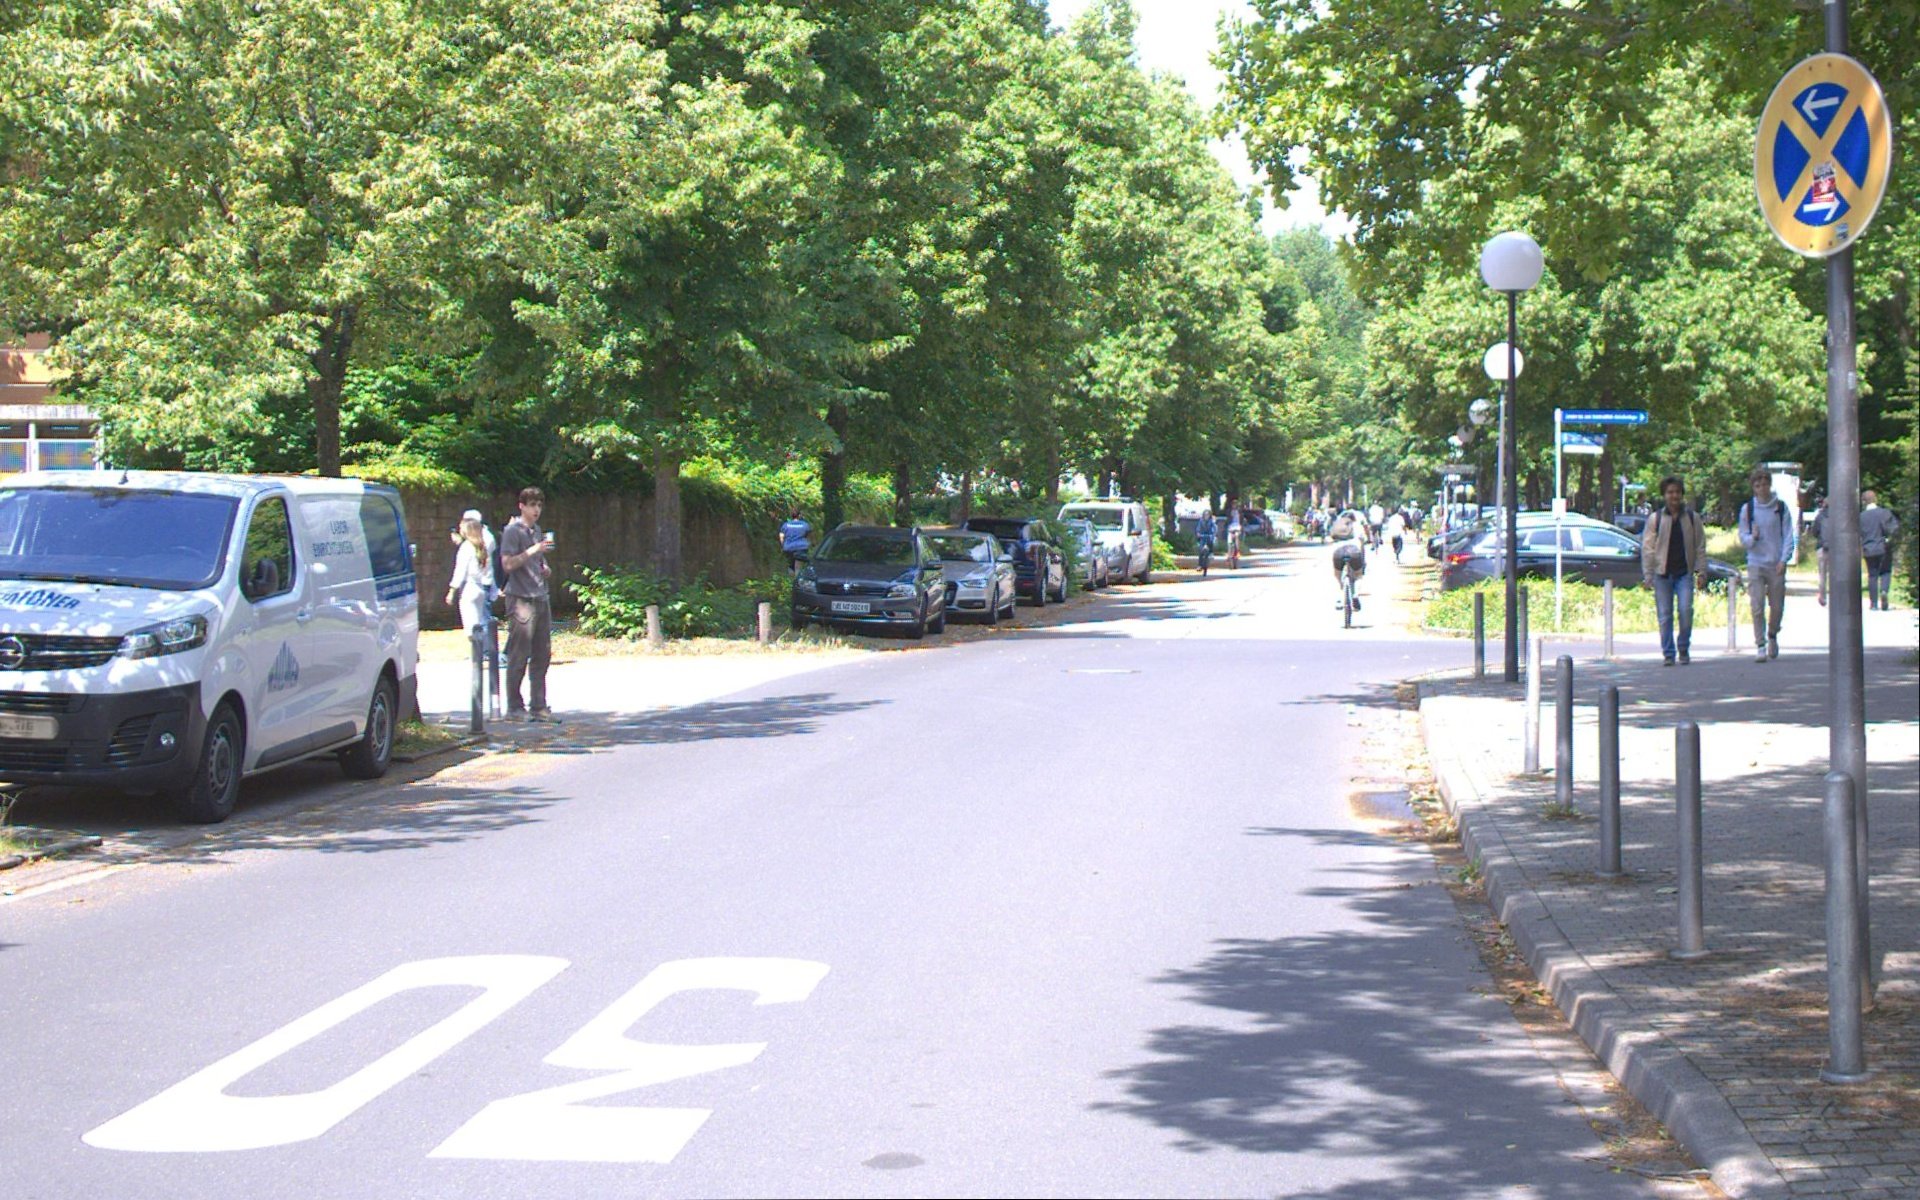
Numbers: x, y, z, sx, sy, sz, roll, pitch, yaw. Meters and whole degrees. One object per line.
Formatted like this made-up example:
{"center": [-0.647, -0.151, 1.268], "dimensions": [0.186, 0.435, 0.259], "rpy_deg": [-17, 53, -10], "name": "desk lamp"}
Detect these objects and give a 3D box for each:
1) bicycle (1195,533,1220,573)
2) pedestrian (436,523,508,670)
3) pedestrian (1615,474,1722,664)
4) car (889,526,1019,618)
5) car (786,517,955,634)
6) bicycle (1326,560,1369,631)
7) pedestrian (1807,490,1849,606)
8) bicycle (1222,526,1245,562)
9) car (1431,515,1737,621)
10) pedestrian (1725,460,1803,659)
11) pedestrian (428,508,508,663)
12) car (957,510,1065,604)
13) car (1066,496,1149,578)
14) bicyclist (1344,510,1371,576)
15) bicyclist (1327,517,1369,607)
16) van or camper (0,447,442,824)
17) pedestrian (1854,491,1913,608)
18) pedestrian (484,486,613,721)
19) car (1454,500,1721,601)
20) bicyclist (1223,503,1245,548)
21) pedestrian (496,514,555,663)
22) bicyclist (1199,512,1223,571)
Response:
{"center": [6.328, -1.199, 87.868], "dimensions": [0.578, 0.997, 1.423], "rpy_deg": [0, 1, 6], "name": "bicycle"}
{"center": [-5.096, -0.046, 35.899], "dimensions": [0.584, 1.521, 0.494], "rpy_deg": [-1, 1, -34], "name": "pedestrian"}
{"center": [6.778, -0.305, 32.854], "dimensions": [0.821, 1.749, 0.840], "rpy_deg": [-3, 1, 17], "name": "pedestrian"}
{"center": [-0.060, -0.470, 54.375], "dimensions": [1.616, 1.383, 3.999], "rpy_deg": [0, 1, 6], "name": "car"}
{"center": [-1.172, -0.371, 46.819], "dimensions": [1.760, 1.516, 4.111], "rpy_deg": [0, 1, 6], "name": "car"}
{"center": [5.634, -0.079, 49.982], "dimensions": [0.614, 0.997, 1.423], "rpy_deg": [0, 1, 6], "name": "bicycle"}
{"center": [13.176, -0.797, 52.170], "dimensions": [0.602, 1.749, 0.628], "rpy_deg": [0, 1, 13], "name": "pedestrian"}
{"center": [7.769, -1.601, 97.628], "dimensions": [0.614, 0.997, 1.423], "rpy_deg": [0, 1, 6], "name": "bicycle"}
{"center": [9.453, -0.495, 52.343], "dimensions": [4.487, 1.520, 1.810], "rpy_deg": [-1, 1, 8], "name": "car"}
{"center": [7.657, -0.390, 32.761], "dimensions": [0.672, 1.866, 0.792], "rpy_deg": [0, 1, 10], "name": "pedestrian"}
{"center": [-5.325, -0.170, 37.196], "dimensions": [0.627, 1.657, 0.603], "rpy_deg": [-1, 2, -39], "name": "pedestrian"}
{"center": [0.966, -0.815, 62.995], "dimensions": [1.616, 1.673, 3.999], "rpy_deg": [0, 1, 6], "name": "car"}
{"center": [3.371, -1.438, 78.114], "dimensions": [1.616, 1.809, 3.999], "rpy_deg": [0, 1, 6], "name": "car"}
{"center": [7.806, -1.113, 67.478], "dimensions": [0.522, 1.291, 0.611], "rpy_deg": [0, 1, 6], "name": "bicyclist"}
{"center": [5.632, -0.553, 49.926], "dimensions": [0.609, 1.291, 0.611], "rpy_deg": [0, 1, 6], "name": "bicyclist"}
{"center": [-4.706, 0.105, 20.370], "dimensions": [1.954, 1.916, 5.419], "rpy_deg": [1, 1, 6], "name": "van or camper"}
{"center": [13.909, -0.768, 51.802], "dimensions": [0.821, 1.749, 0.628], "rpy_deg": [0, 1, 13], "name": "pedestrian"}
{"center": [-3.302, 0.016, 27.635], "dimensions": [0.725, 1.850, 0.790], "rpy_deg": [1, 1, 24], "name": "pedestrian"}
{"center": [10.387, -0.829, 57.160], "dimensions": [4.258, 1.582, 1.810], "rpy_deg": [-1, 1, 8], "name": "car"}
{"center": [7.779, -2.122, 97.709], "dimensions": [0.608, 1.291, 0.611], "rpy_deg": [0, 1, 6], "name": "bicyclist"}
{"center": [-4.652, -0.126, 36.803], "dimensions": [0.494, 1.580, 0.494], "rpy_deg": [-1, 1, -26], "name": "pedestrian"}
{"center": [6.422, -1.505, 87.913], "dimensions": [0.563, 1.493, 0.827], "rpy_deg": [0, 1, 6], "name": "bicyclist"}
